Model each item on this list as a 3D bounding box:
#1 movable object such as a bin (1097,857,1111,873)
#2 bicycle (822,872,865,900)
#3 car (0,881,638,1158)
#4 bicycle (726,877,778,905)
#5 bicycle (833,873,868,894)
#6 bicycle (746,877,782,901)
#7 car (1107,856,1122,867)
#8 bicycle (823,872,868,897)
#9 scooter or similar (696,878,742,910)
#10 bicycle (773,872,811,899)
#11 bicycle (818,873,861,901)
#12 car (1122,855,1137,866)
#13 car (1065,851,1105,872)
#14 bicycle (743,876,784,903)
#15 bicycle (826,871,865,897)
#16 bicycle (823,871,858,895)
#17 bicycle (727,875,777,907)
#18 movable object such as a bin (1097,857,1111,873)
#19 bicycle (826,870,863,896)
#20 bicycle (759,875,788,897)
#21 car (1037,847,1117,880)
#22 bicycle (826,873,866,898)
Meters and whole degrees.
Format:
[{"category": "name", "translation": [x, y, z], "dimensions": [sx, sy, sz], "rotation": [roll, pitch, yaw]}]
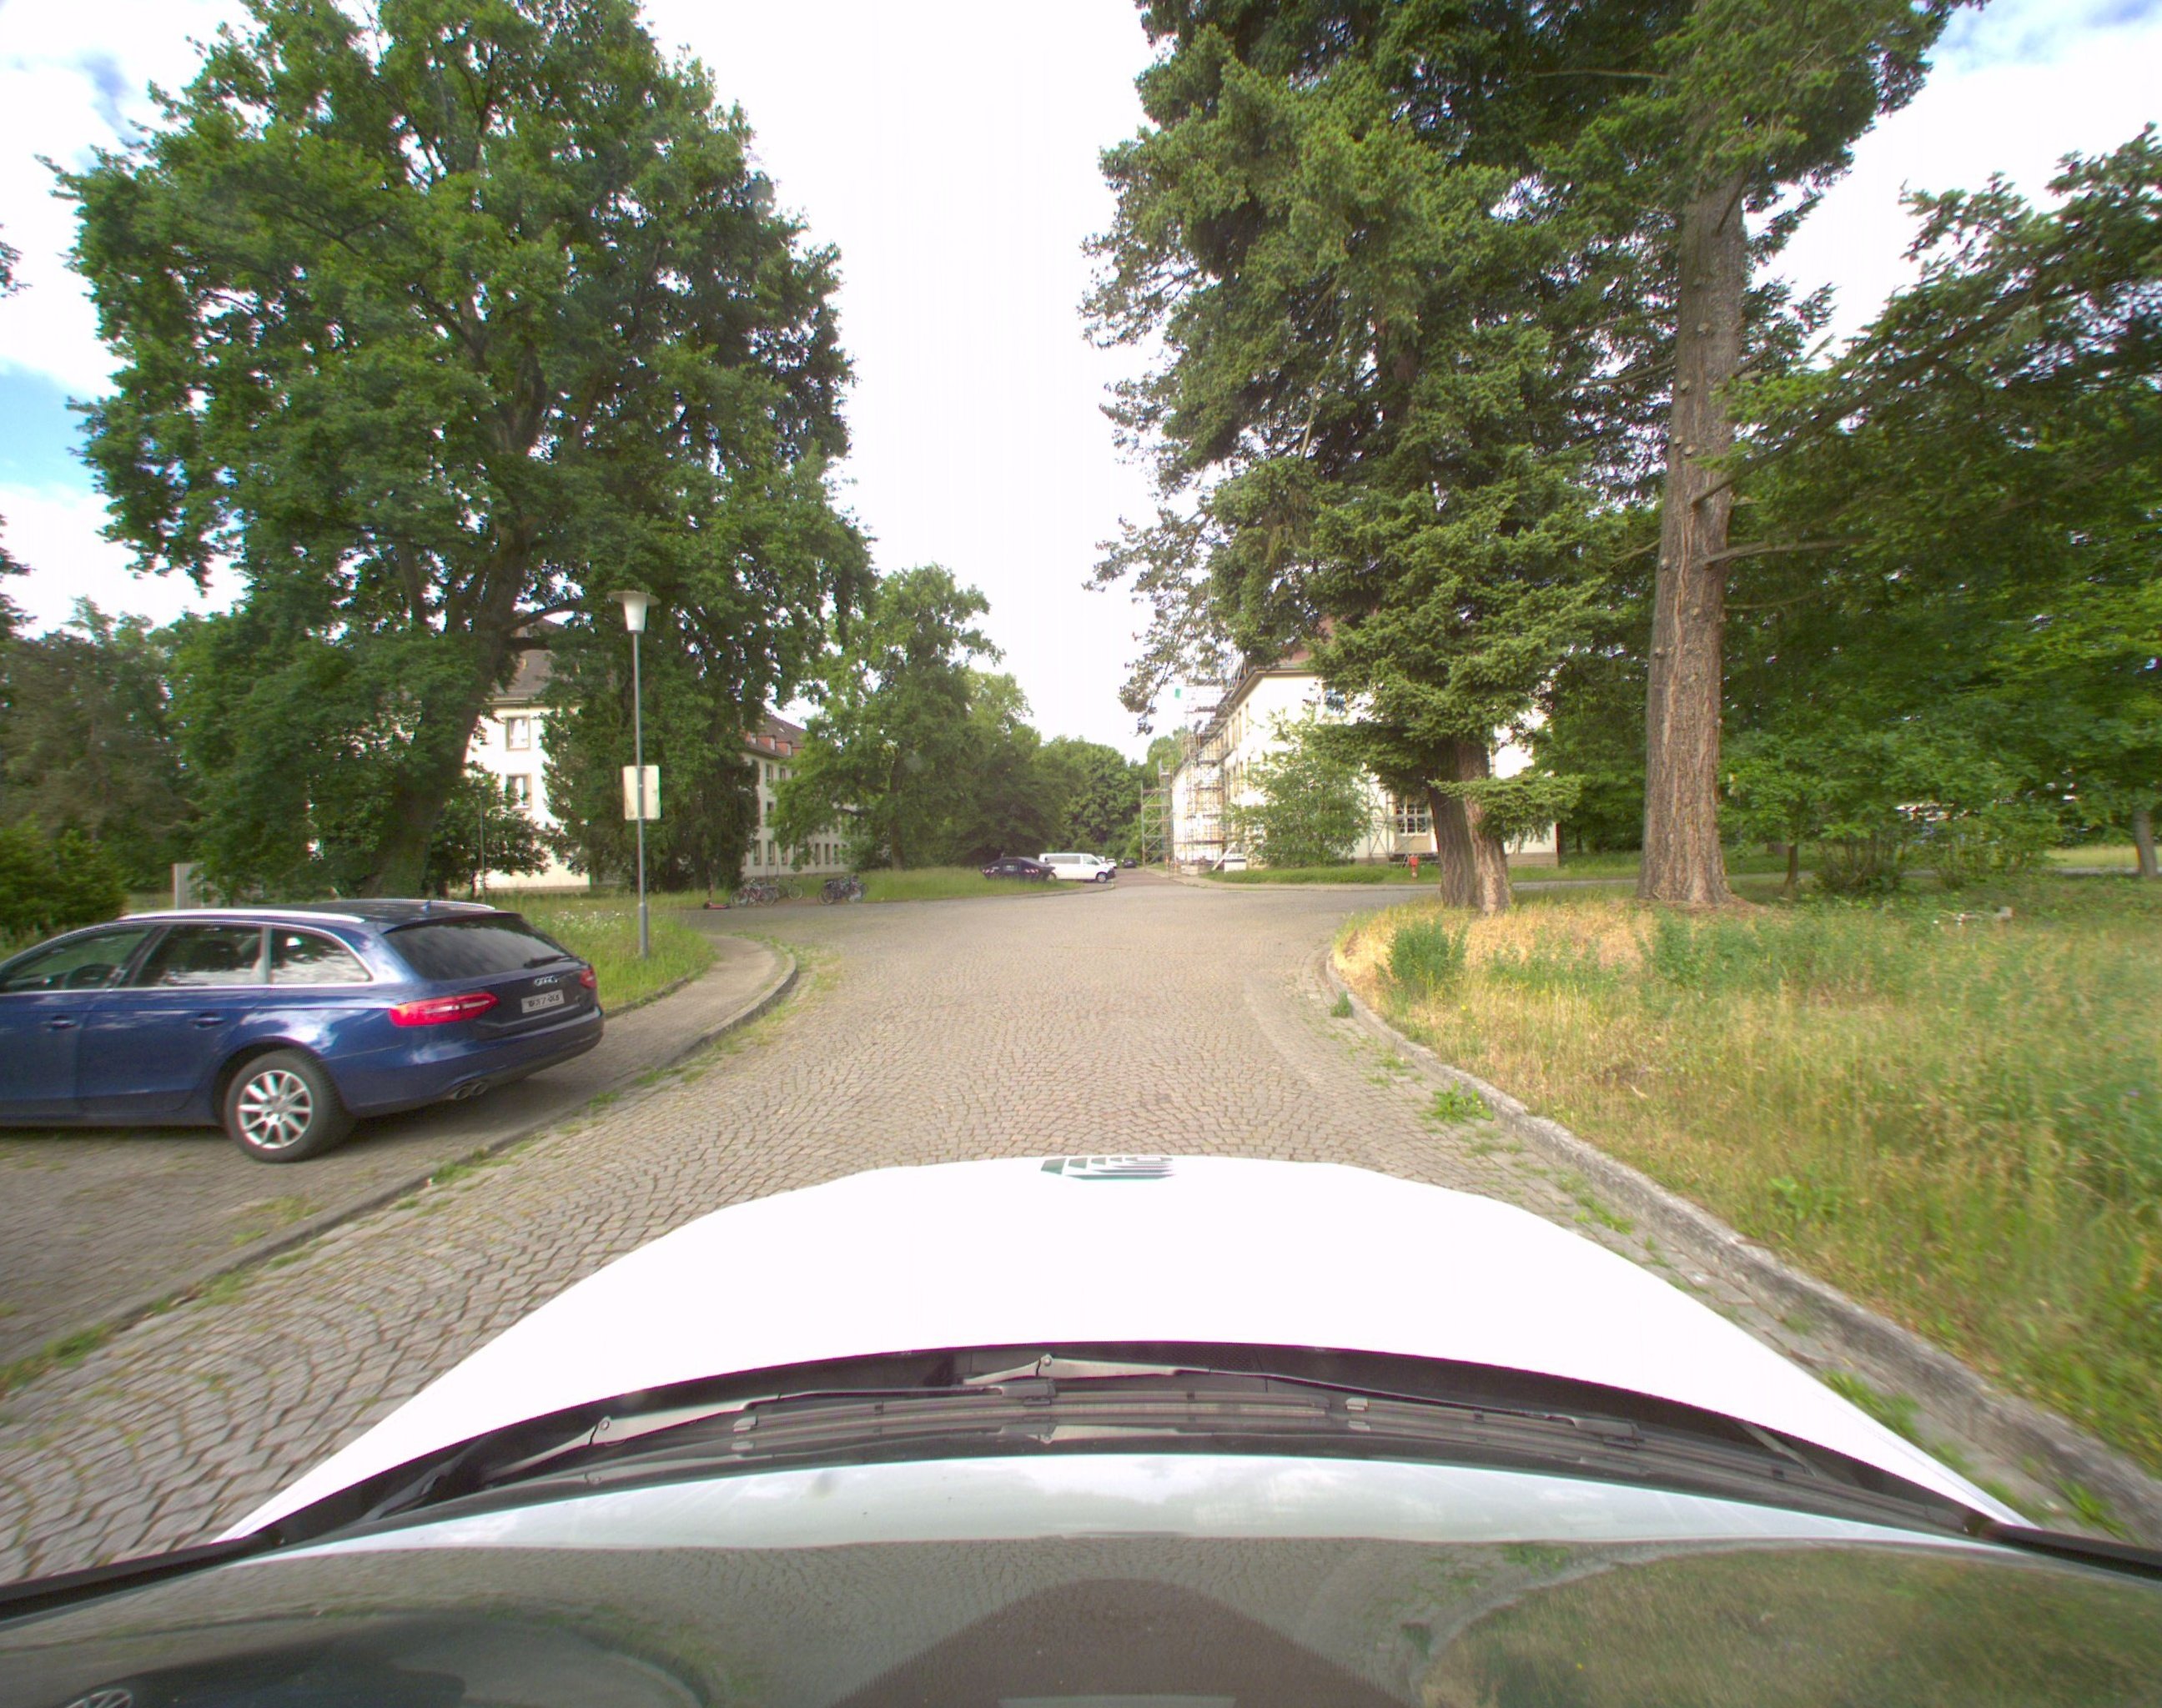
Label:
[{"category": "movable object such as a bin", "translation": [2.070, 0.972, 73.828], "dimensions": [1.179, 1.407, 0.976], "rotation": [1, -1, 2]}, {"category": "bicycle", "translation": [-10.632, 1.413, 36.438], "dimensions": [1.798, 1.103, 0.698], "rotation": [-3, 2, -18]}, {"category": "car", "translation": [-5.661, 0.993, 5.498], "dimensions": [4.413, 1.480, 1.683], "rotation": [-1, 0, 3]}, {"category": "bicycle", "translation": [-14.175, 1.589, 35.130], "dimensions": [1.990, 1.114, 0.640], "rotation": [-2, 2, -18]}, {"category": "bicycle", "translation": [-11.686, 1.487, 41.296], "dimensions": [1.620, 0.910, 0.524], "rotation": [-3, 2, -18]}, {"category": "bicycle", "translation": [-14.844, 1.619, 38.118], "dimensions": [1.520, 1.035, 0.540], "rotation": [-2, 2, -28]}, {"category": "car", "translation": [4.992, 1.111, 120.360], "dimensions": [1.995, 1.548, 3.956], "rotation": [1, -1, -1]}, {"category": "bicycle", "translation": [-10.973, 1.418, 37.939], "dimensions": [1.959, 1.004, 0.682], "rotation": [-3, 2, -18]}, {"category": "scooter or similar", "translation": [-15.035, 1.658, 33.808], "dimensions": [1.540, 1.195, 0.683], "rotation": [-2, 0, 5]}, {"category": "bicycle", "translation": [-13.917, 1.503, 39.202], "dimensions": [1.646, 1.185, 0.570], "rotation": [-2, 2, -24]}, {"category": "bicycle", "translation": [-10.571, 1.439, 35.679], "dimensions": [1.772, 1.103, 0.698], "rotation": [-3, 2, -18]}, {"category": "car", "translation": [7.186, 1.024, 120.451], "dimensions": [2.054, 1.593, 4.005], "rotation": [1, -1, 5]}, {"category": "car", "translation": [0.364, 0.720, 81.901], "dimensions": [3.977, 2.014, 1.920], "rotation": [1, -1, -3]}, {"category": "bicycle", "translation": [-14.330, 1.592, 36.744], "dimensions": [1.634, 1.073, 0.535], "rotation": [-2, 2, -28]}, {"category": "bicycle", "translation": [-11.466, 1.447, 39.644], "dimensions": [1.775, 1.105, 0.538], "rotation": [-3, 2, -18]}, {"category": "bicycle", "translation": [-11.975, 1.455, 40.628], "dimensions": [1.620, 1.058, 0.524], "rotation": [-3, 2, -18]}, {"category": "bicycle", "translation": [-13.922, 1.561, 34.503], "dimensions": [1.900, 1.222, 0.640], "rotation": [-1, 1, -18]}, {"category": "movable object such as a bin", "translation": [2.053, 0.979, 72.694], "dimensions": [1.179, 1.407, 0.976], "rotation": [1, -1, 2]}, {"category": "bicycle", "translation": [-11.671, 1.429, 40.148], "dimensions": [1.701, 1.116, 0.538], "rotation": [-3, 2, -18]}, {"category": "bicycle", "translation": [-15.326, 1.606, 40.577], "dimensions": [1.262, 1.029, 0.431], "rotation": [-3, -2, -18]}, {"category": "car", "translation": [-0.233, 0.643, 54.439], "dimensions": [5.182, 2.060, 2.188], "rotation": [-1, -1, 0]}, {"category": "bicycle", "translation": [-10.728, 1.434, 37.168], "dimensions": [1.695, 1.001, 0.628], "rotation": [-3, 2, -18]}]
